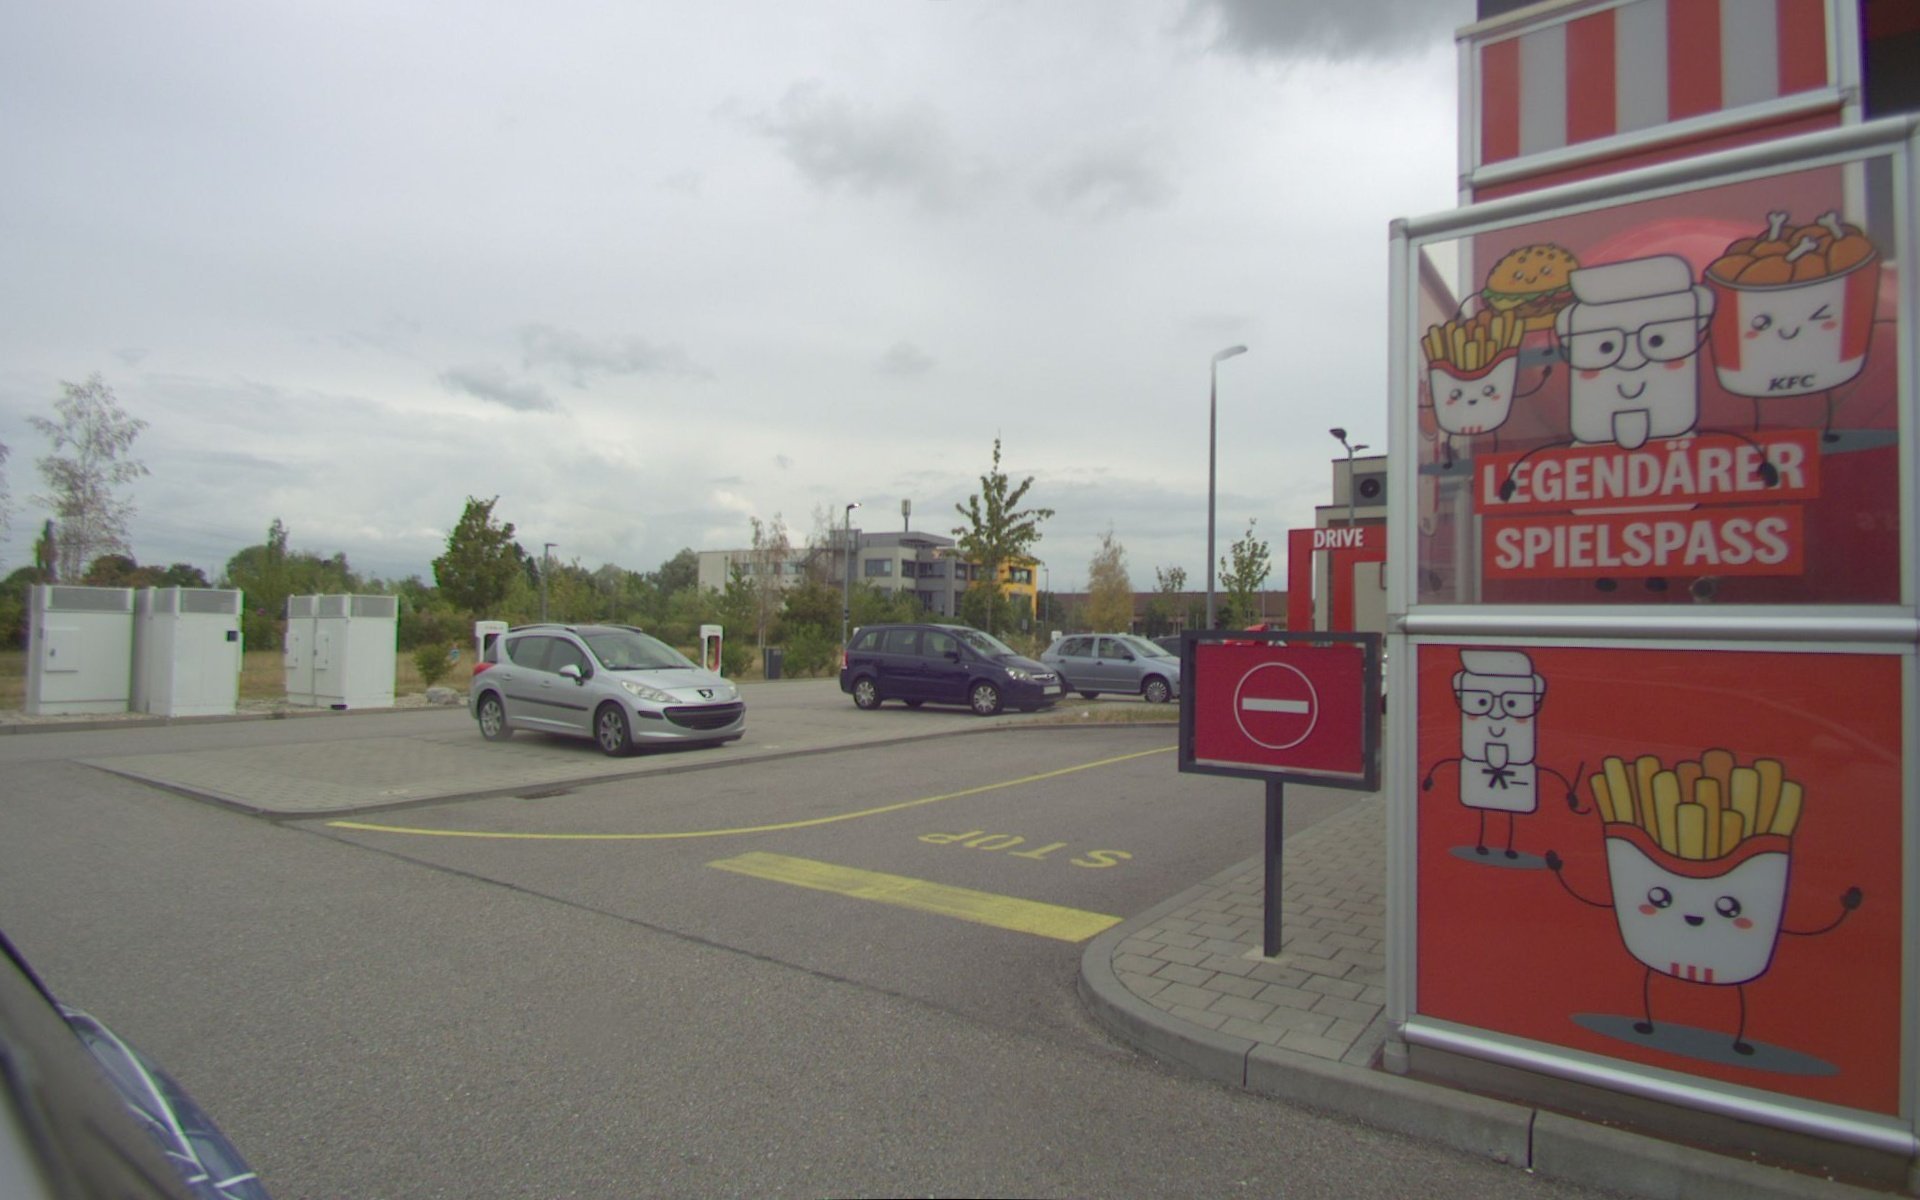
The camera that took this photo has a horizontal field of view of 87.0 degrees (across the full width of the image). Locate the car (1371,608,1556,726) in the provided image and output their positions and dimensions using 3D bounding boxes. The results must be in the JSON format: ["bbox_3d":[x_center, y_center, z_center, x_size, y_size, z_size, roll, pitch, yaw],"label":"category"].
[{"bbox_3d":[9.818,1.241,19.507,2.277,1.946,5.057,-1,-3,37],"label":"car"}]

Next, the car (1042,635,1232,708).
[{"bbox_3d":[3.645,1.484,21.172,3.679,1.405,1.413,-3,-4,39],"label":"car"}]

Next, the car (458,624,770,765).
[{"bbox_3d":[-4.457,1.094,12.801,4.159,1.516,1.609,-2,-3,35],"label":"car"}]

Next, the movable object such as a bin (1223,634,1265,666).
[{"bbox_3d":[12.653,2.241,45.074,1.360,1.360,1.853,-2,-4,29],"label":"movable object such as a bin"}]

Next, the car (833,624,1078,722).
[{"bbox_3d":[-0.163,1.294,18.729,4.476,1.629,1.566,-2,-3,36],"label":"car"}]

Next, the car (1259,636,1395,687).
[{"bbox_3d":[12.052,2.036,33.283,3.836,1.586,1.803,-3,-4,36],"label":"car"}]
